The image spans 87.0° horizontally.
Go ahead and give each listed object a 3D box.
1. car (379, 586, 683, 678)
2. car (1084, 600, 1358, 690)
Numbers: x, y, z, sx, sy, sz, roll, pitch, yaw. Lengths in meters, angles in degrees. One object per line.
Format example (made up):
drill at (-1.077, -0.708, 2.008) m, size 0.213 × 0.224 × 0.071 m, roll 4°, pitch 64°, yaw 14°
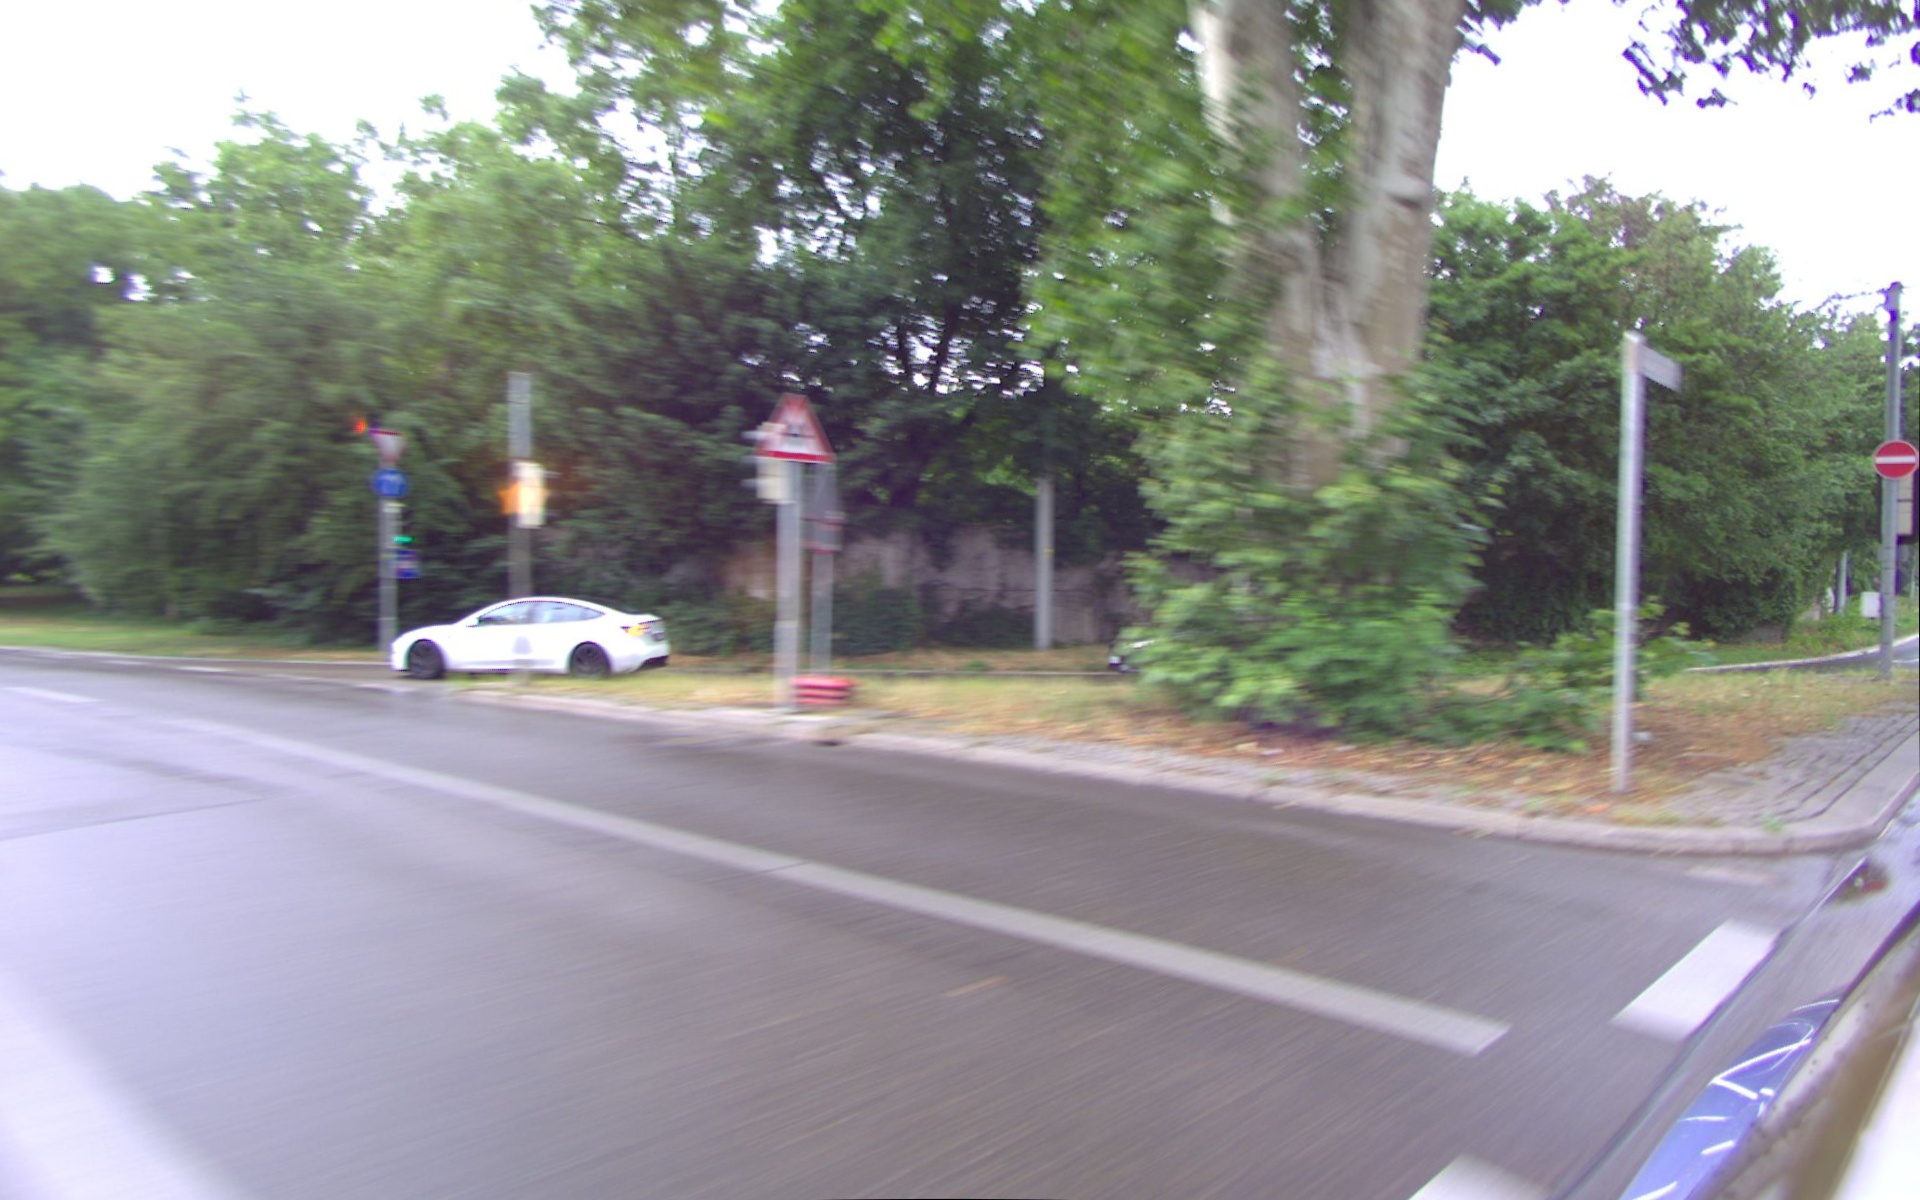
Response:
car at (-7.324, 0.507, 17.570) m, size 4.534 × 1.467 × 1.857 m, roll 0°, pitch 1°, yaw 3°
car at (4.584, 0.776, 18.006) m, size 4.322 × 1.421 × 1.756 m, roll -1°, pitch -2°, yaw -12°
